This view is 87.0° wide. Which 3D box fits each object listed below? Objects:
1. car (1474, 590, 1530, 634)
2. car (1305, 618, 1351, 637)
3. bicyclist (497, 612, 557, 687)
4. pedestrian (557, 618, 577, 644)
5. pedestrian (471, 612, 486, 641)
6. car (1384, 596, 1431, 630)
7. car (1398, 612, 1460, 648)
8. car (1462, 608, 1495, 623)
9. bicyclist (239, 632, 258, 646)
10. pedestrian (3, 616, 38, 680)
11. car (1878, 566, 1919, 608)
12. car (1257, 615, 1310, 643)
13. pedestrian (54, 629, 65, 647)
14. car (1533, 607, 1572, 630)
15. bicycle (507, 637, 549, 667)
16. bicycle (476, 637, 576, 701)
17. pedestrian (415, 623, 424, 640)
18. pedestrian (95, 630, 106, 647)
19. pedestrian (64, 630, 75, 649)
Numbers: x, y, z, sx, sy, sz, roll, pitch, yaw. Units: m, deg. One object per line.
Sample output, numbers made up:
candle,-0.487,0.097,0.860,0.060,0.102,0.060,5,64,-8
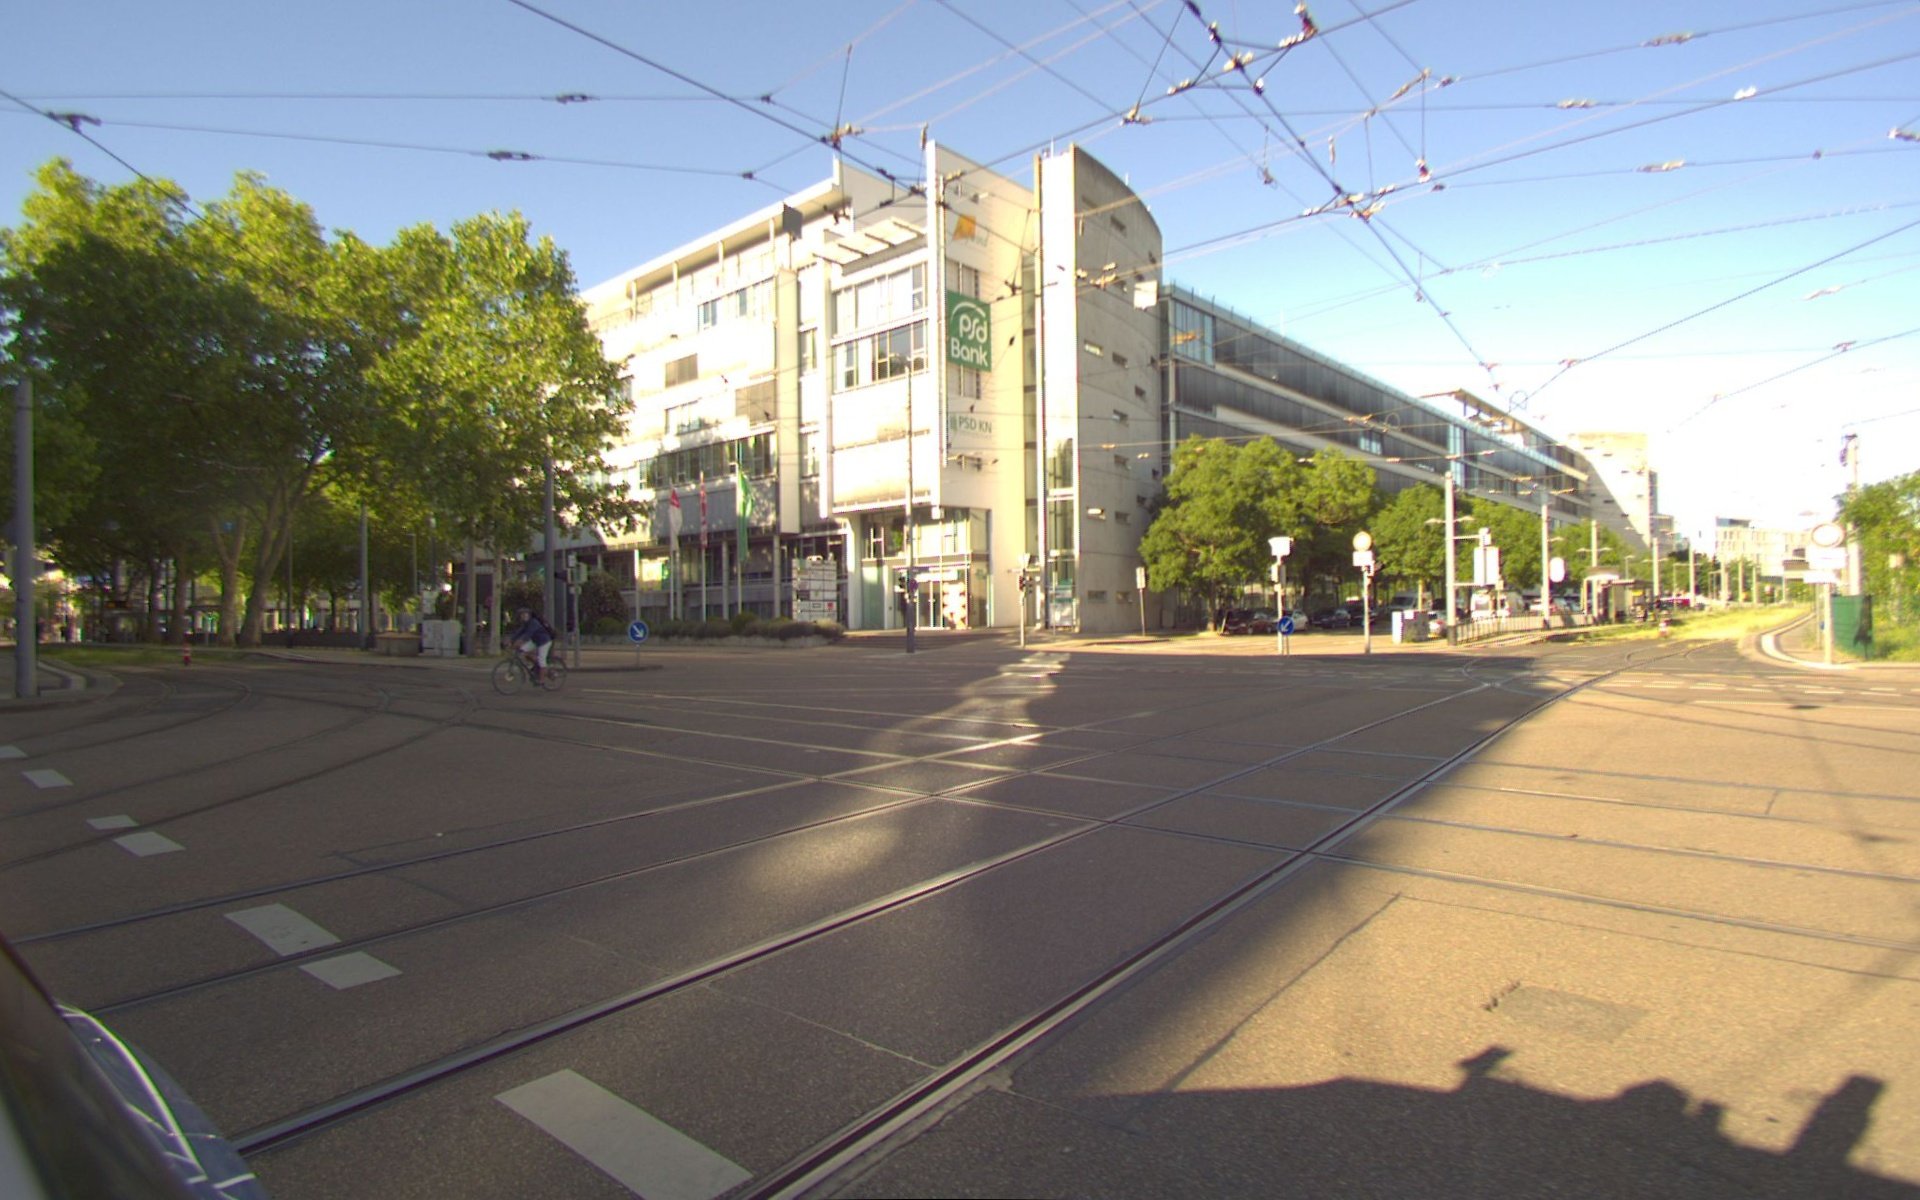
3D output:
car,32.547,0.748,60.746,2.180,2.524,4.343,-2,-1,39
car,25.005,1.870,68.623,1.807,1.198,3.750,-2,-1,39
bicyclist,-8.921,1.004,20.869,0.719,1.505,0.874,-1,-1,25
pedestrian,-23.979,1.889,61.724,0.767,1.604,0.896,-2,-2,42
pedestrian,-33.526,1.833,70.491,0.833,1.991,0.599,-3,-1,40
car,35.947,1.055,81.231,2.230,2.675,5.062,-2,-1,39
car,23.459,1.491,50.539,2.104,1.710,3.923,-2,-2,35
car,49.589,1.474,96.748,1.998,1.357,3.948,-2,-1,39
bicyclist,-66.536,3.634,94.655,1.371,1.259,0.995,-3,-1,35
pedestrian,-26.454,1.332,28.501,0.725,1.760,0.712,0,-2,-43
car,48.272,-0.649,50.179,3.999,2.029,1.972,-3,-2,42
car,20.153,1.780,62.916,1.734,1.666,3.899,-2,-1,41
pedestrian,-86.214,3.596,96.879,0.697,1.709,0.678,-2,-2,34
car,41.372,1.279,70.603,1.752,1.570,3.898,-2,-1,39
bicycle,-14.726,1.758,34.497,0.803,0.953,1.728,0,-2,-42
bicycle,-8.910,1.390,20.875,0.587,1.198,2.025,-1,-1,25
pedestrian,-52.330,3.022,97.984,0.571,1.616,0.581,0,-2,-42
pedestrian,-74.286,3.320,87.460,0.549,1.509,0.548,-2,-2,31
pedestrian,-85.727,3.790,97.418,0.675,1.767,0.649,-2,-2,34
